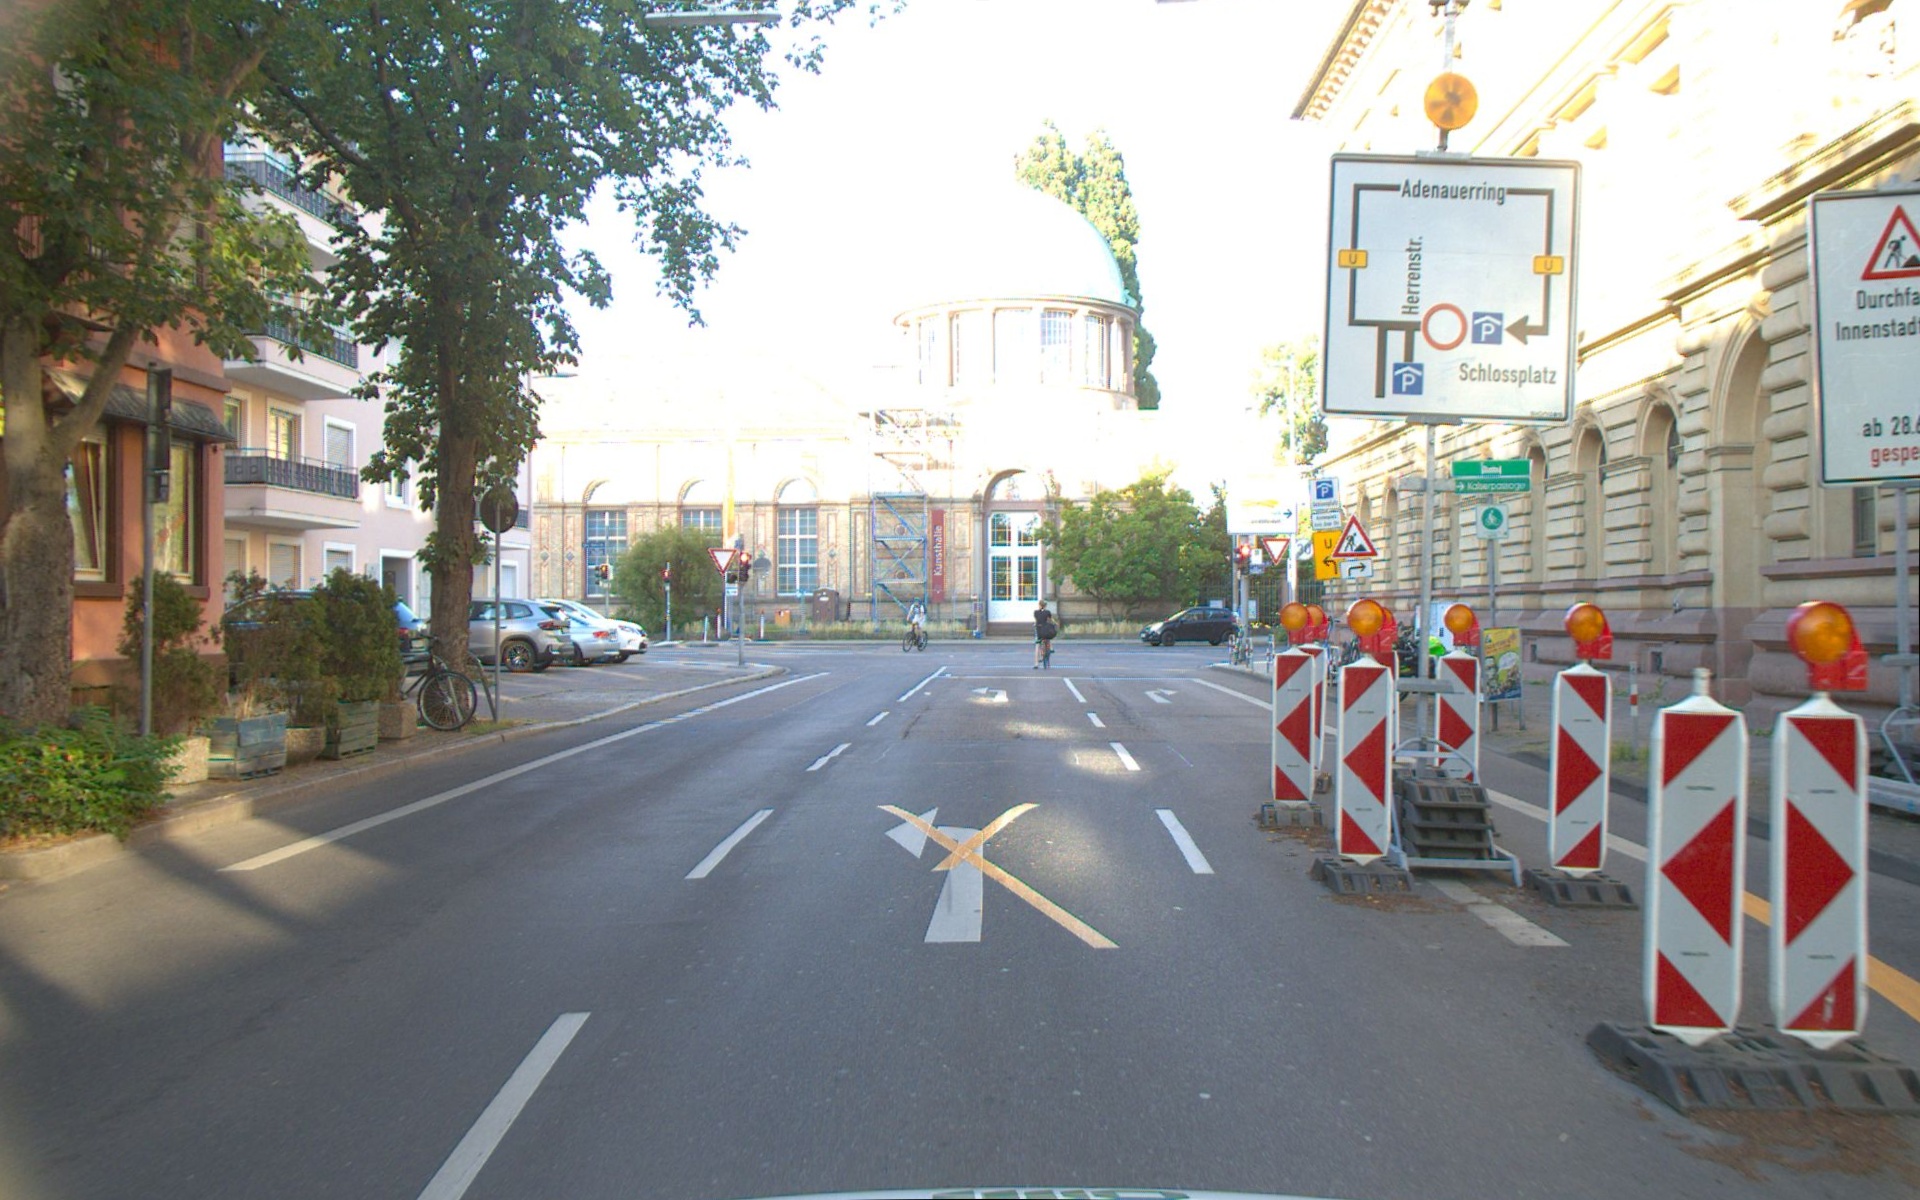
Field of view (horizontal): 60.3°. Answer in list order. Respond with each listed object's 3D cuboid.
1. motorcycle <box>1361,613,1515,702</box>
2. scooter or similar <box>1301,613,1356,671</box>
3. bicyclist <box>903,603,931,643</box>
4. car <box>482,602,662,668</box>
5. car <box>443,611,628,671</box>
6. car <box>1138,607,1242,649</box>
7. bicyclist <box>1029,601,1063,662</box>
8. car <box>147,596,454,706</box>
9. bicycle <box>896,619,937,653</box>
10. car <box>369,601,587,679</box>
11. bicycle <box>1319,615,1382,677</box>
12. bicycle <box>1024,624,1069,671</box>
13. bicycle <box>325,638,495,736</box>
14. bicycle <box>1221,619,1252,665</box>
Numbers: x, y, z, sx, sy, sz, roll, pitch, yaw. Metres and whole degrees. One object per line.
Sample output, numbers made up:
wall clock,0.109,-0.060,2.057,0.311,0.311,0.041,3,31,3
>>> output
motorcycle,7.147,0.863,24.772,2.059,1.236,0.708,-3,-1,32
scooter or similar,7.785,0.887,34.984,1.106,1.216,0.584,-1,0,9
bicyclist,-1.525,0.817,58.833,0.612,1.388,0.928,-2,-2,25
car,-10.383,0.925,44.481,4.349,1.669,1.942,1,0,0
car,-10.691,1.030,41.810,4.179,1.404,1.736,1,0,0
car,8.958,1.073,64.569,3.764,1.497,1.662,-2,0,-3
bicyclist,2.225,0.820,42.734,0.701,1.529,0.851,-1,-2,16
car,-10.905,0.815,27.566,4.327,1.694,1.864,1,0,0
bicycle,-1.525,1.282,58.778,0.612,1.176,2.051,-2,-2,24
car,-10.874,0.883,37.499,4.327,1.633,1.916,1,0,0
bicycle,7.875,0.911,33.403,0.810,1.154,1.945,-4,0,2
bicycle,2.250,1.227,42.762,0.696,1.176,2.070,-1,-2,16
bicycle,-6.569,1.031,19.819,1.830,1.123,0.610,0,-1,-5
bicycle,7.393,1.137,44.304,0.570,1.209,1.920,-1,-2,2
